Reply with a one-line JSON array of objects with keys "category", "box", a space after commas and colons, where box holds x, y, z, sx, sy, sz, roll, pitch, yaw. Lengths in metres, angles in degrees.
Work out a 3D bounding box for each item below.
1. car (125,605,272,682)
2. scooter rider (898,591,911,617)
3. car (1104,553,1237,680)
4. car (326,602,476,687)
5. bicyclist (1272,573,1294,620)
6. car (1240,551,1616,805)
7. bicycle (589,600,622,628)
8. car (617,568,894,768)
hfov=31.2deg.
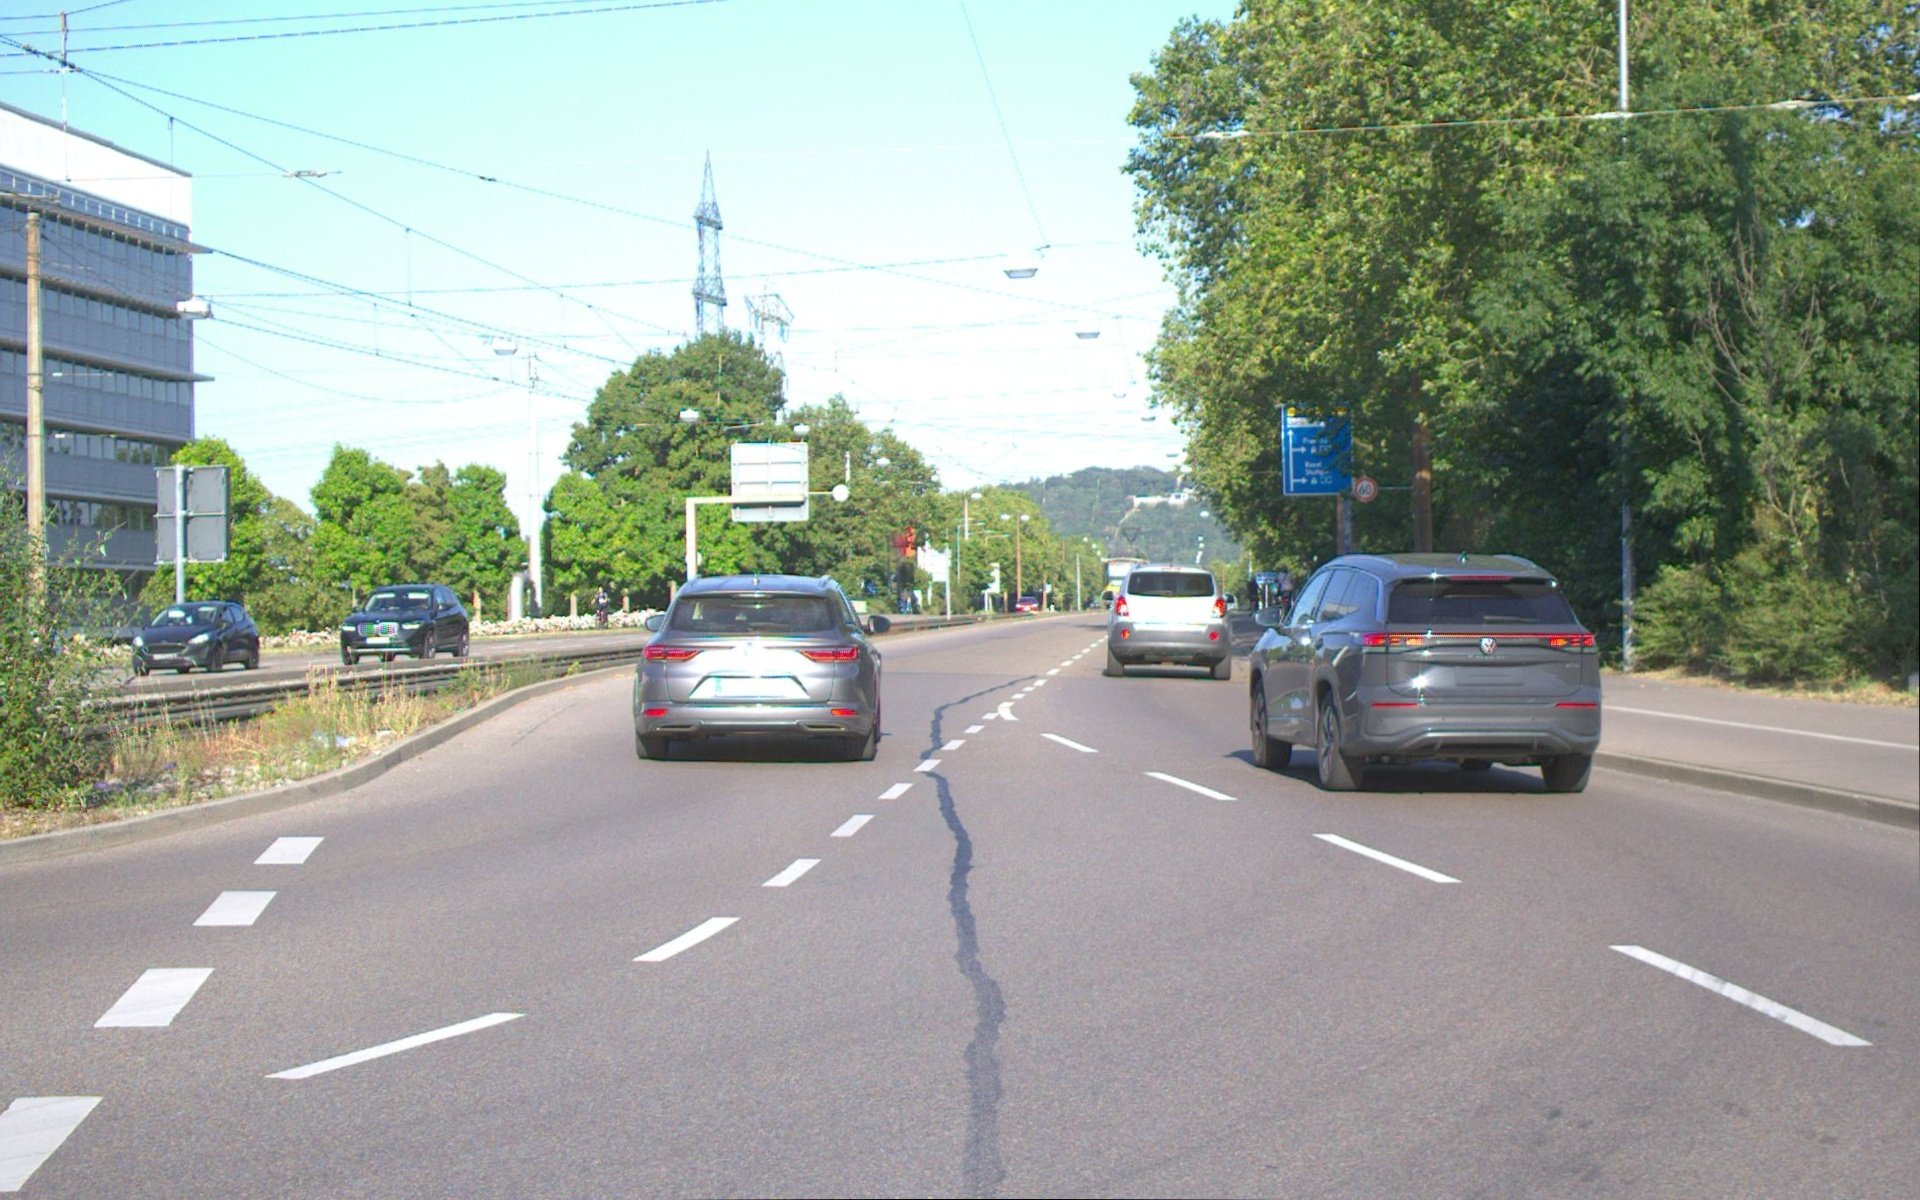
[{"category": "car", "box": [-15.596, 0.877, 70.572, 1.857, 1.456, 4.137, -1, 1, 3]}, {"category": "scooter rider", "box": [-3.964, 0.294, 244.747, 0.682, 1.842, 1.000, -1, 0, 13]}, {"category": "car", "box": [3.199, 0.219, 51.922, 1.883, 1.789, 3.999, 1, 1, 4]}, {"category": "car", "box": [-11.888, 0.929, 73.395, 1.994, 1.650, 4.657, -2, 1, 6]}, {"category": "bicyclist", "box": [10.227, -0.112, 108.885, 0.685, 1.503, 0.890, 0, 0, 5]}, {"category": "car", "box": [3.252, 0.485, 24.763, 1.844, 1.655, 4.440, 1, 1, -3]}, {"category": "bicycle", "box": [-14.849, 0.590, 144.018, 0.661, 1.147, 2.020, 2, 1, 14]}, {"category": "car", "box": [-1.570, 0.485, 27.976, 1.866, 1.462, 4.666, 1, 1, 1]}]
